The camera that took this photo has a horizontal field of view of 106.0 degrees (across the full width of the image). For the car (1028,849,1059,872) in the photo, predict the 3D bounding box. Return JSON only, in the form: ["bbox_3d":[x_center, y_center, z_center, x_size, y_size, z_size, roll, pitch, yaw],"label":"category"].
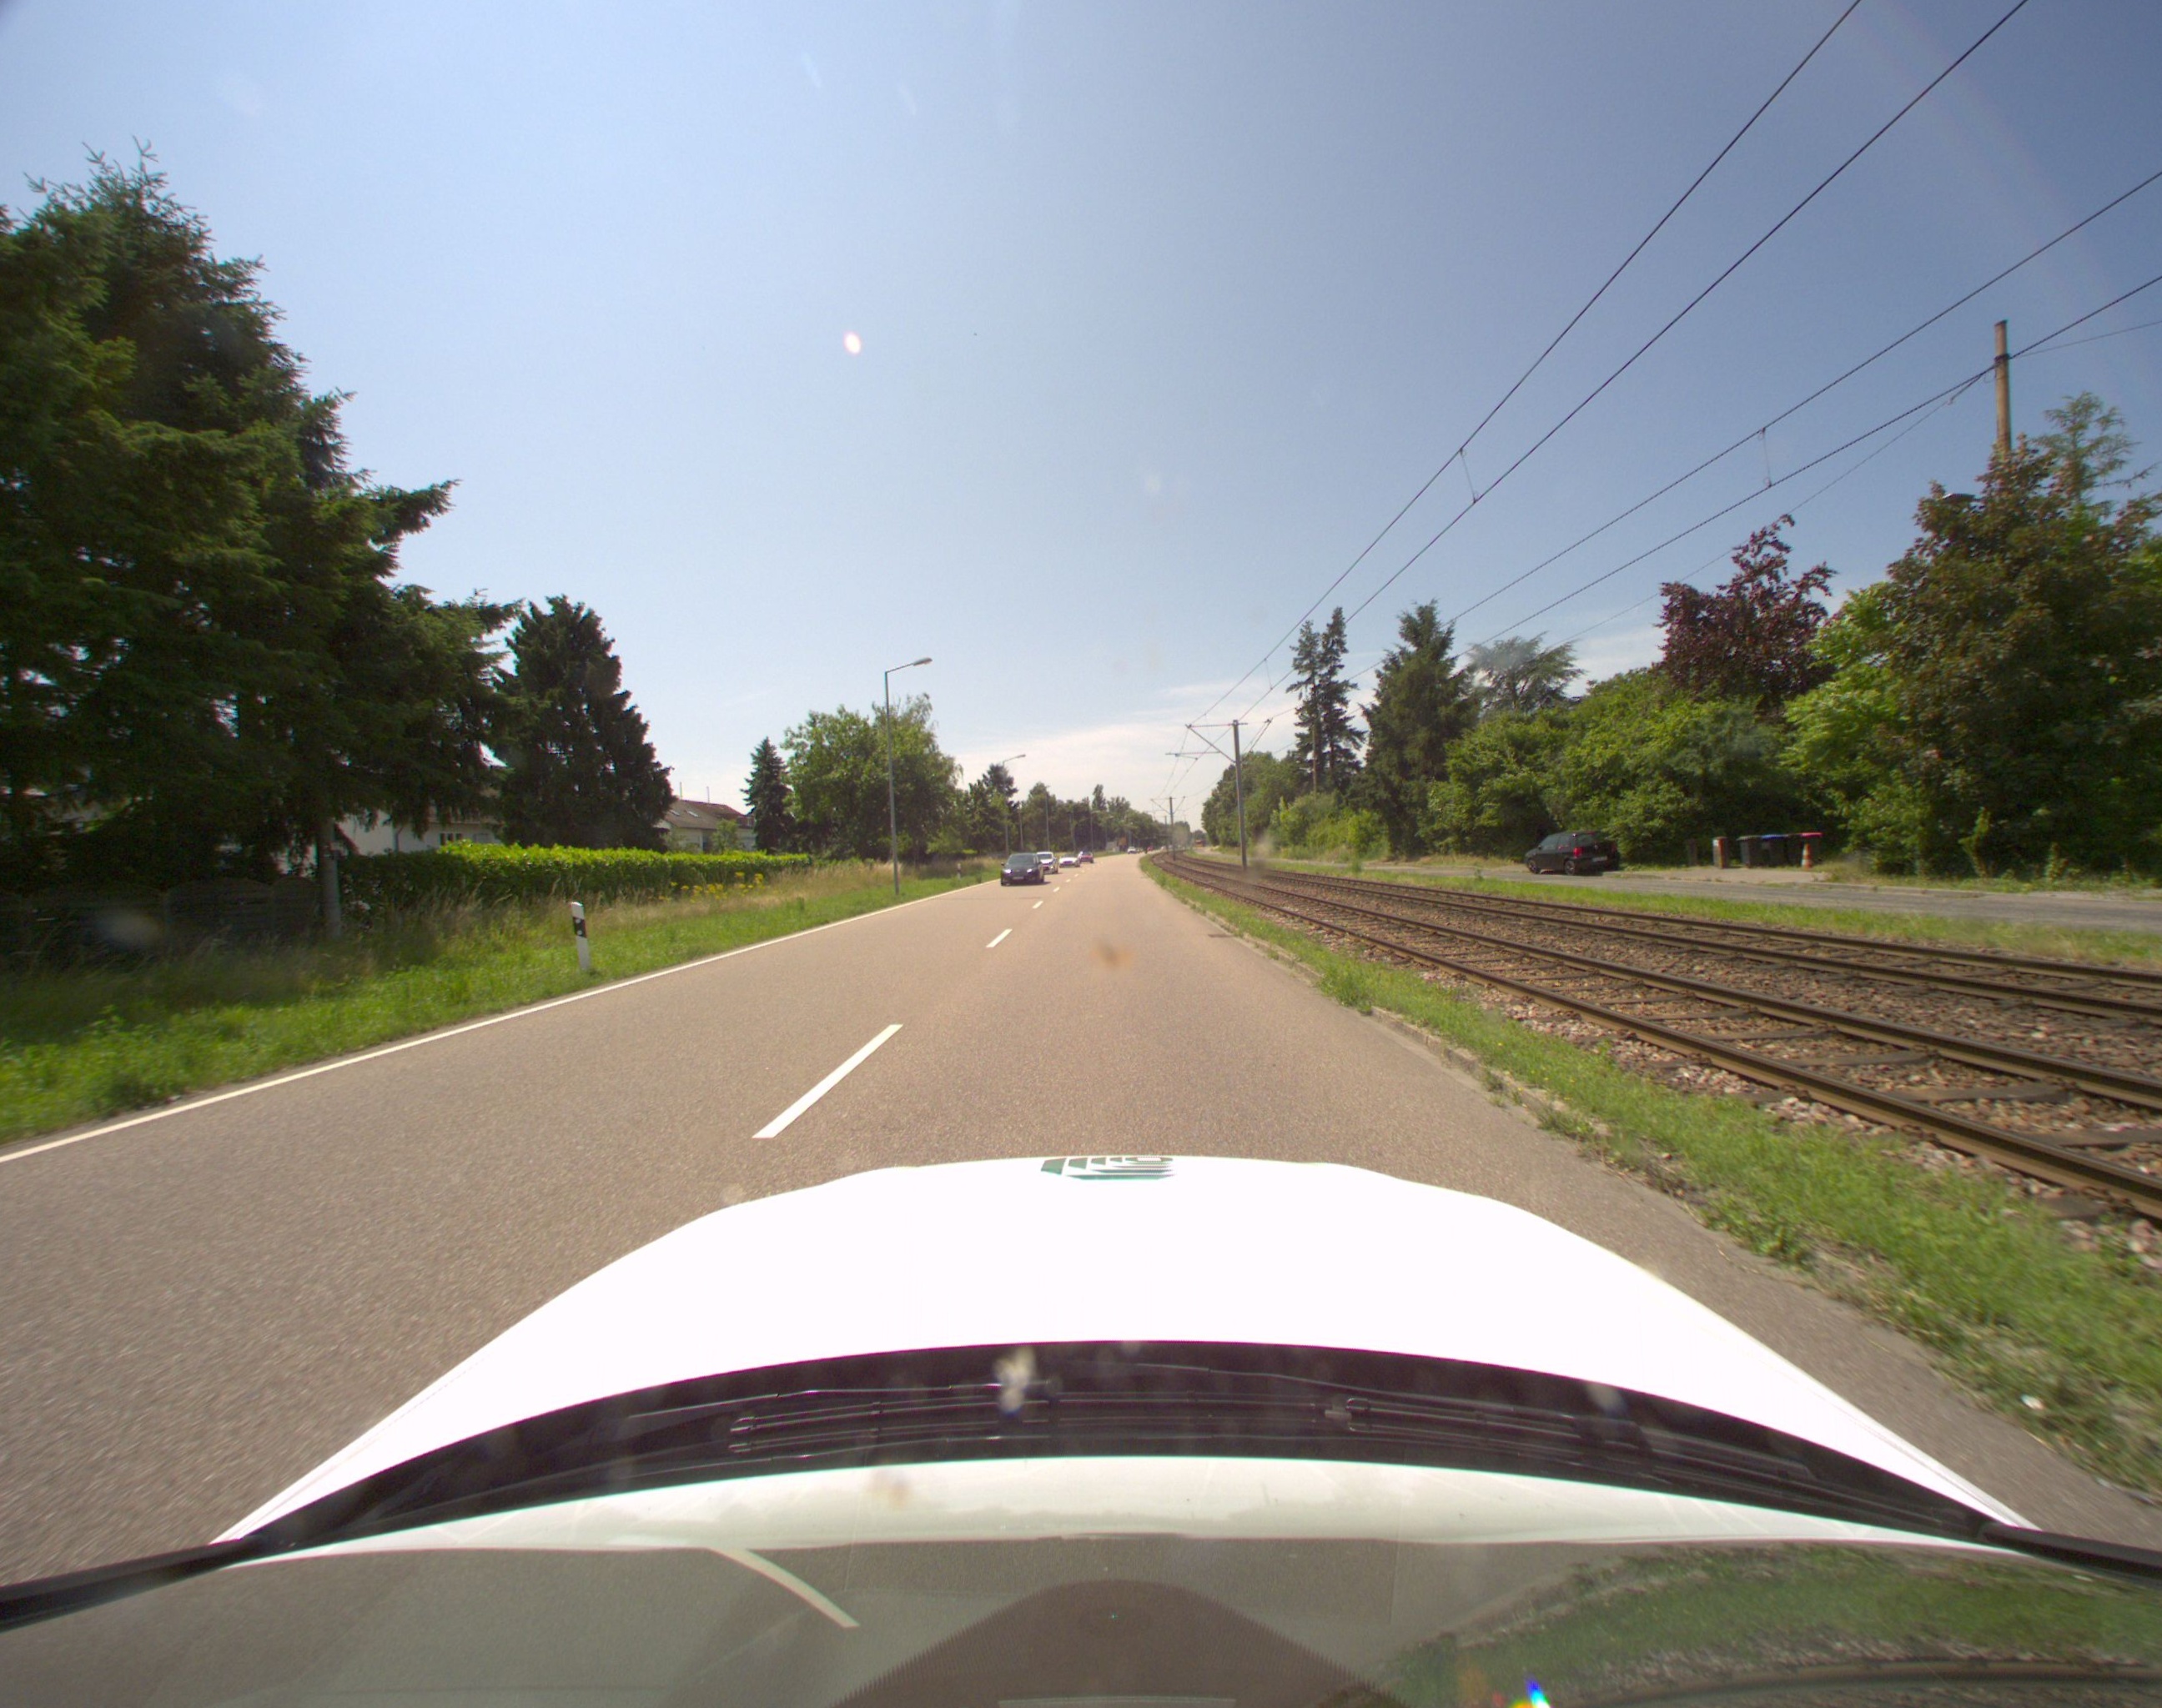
[{"bbox_3d":[-2.520,0.429,55.518,1.740,1.503,3.709,-2,0,2],"label":"car"}]

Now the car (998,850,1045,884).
[{"bbox_3d":[-2.753,0.576,38.692,1.694,1.491,4.442,-2,0,2],"label":"car"}]

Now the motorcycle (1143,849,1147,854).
[{"bbox_3d":[15.933,-0.595,203.379,0.965,1.117,2.737,-2,0,6],"label":"motorcycle"}]

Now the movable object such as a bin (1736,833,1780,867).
[{"bbox_3d":[19.653,-0.115,23.649,0.721,0.937,0.621,-2,0,1],"label":"movable object such as a bin"}]

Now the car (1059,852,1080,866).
[{"bbox_3d":[-1.058,0.450,76.387,1.676,1.249,3.911,-2,0,2],"label":"car"}]

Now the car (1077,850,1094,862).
[{"bbox_3d":[0.529,0.250,95.162,1.742,1.301,4.256,-2,0,2],"label":"car"}]

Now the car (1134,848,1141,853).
[{"bbox_3d":[17.409,-1.069,251.348,1.809,1.493,4.369,-2,0,5],"label":"car"}]

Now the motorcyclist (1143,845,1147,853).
[{"bbox_3d":[15.923,-1.157,203.496,0.887,1.905,1.017,-2,0,6],"label":"motorcyclist"}]

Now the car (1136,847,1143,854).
[{"bbox_3d":[16.170,-1.006,225.464,1.926,1.796,4.718,-2,0,5],"label":"car"}]

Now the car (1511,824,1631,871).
[{"bbox_3d":[17.118,-0.207,28.687,1.907,1.470,4.002,-2,0,2],"label":"car"}]

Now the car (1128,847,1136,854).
[{"bbox_3d":[13.156,-0.899,209.454,1.926,1.796,4.718,-2,0,5],"label":"car"}]

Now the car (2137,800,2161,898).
[{"bbox_3d":[18.240,-0.109,11.027,1.929,1.561,4.555,-2,0,-1],"label":"car"}]
